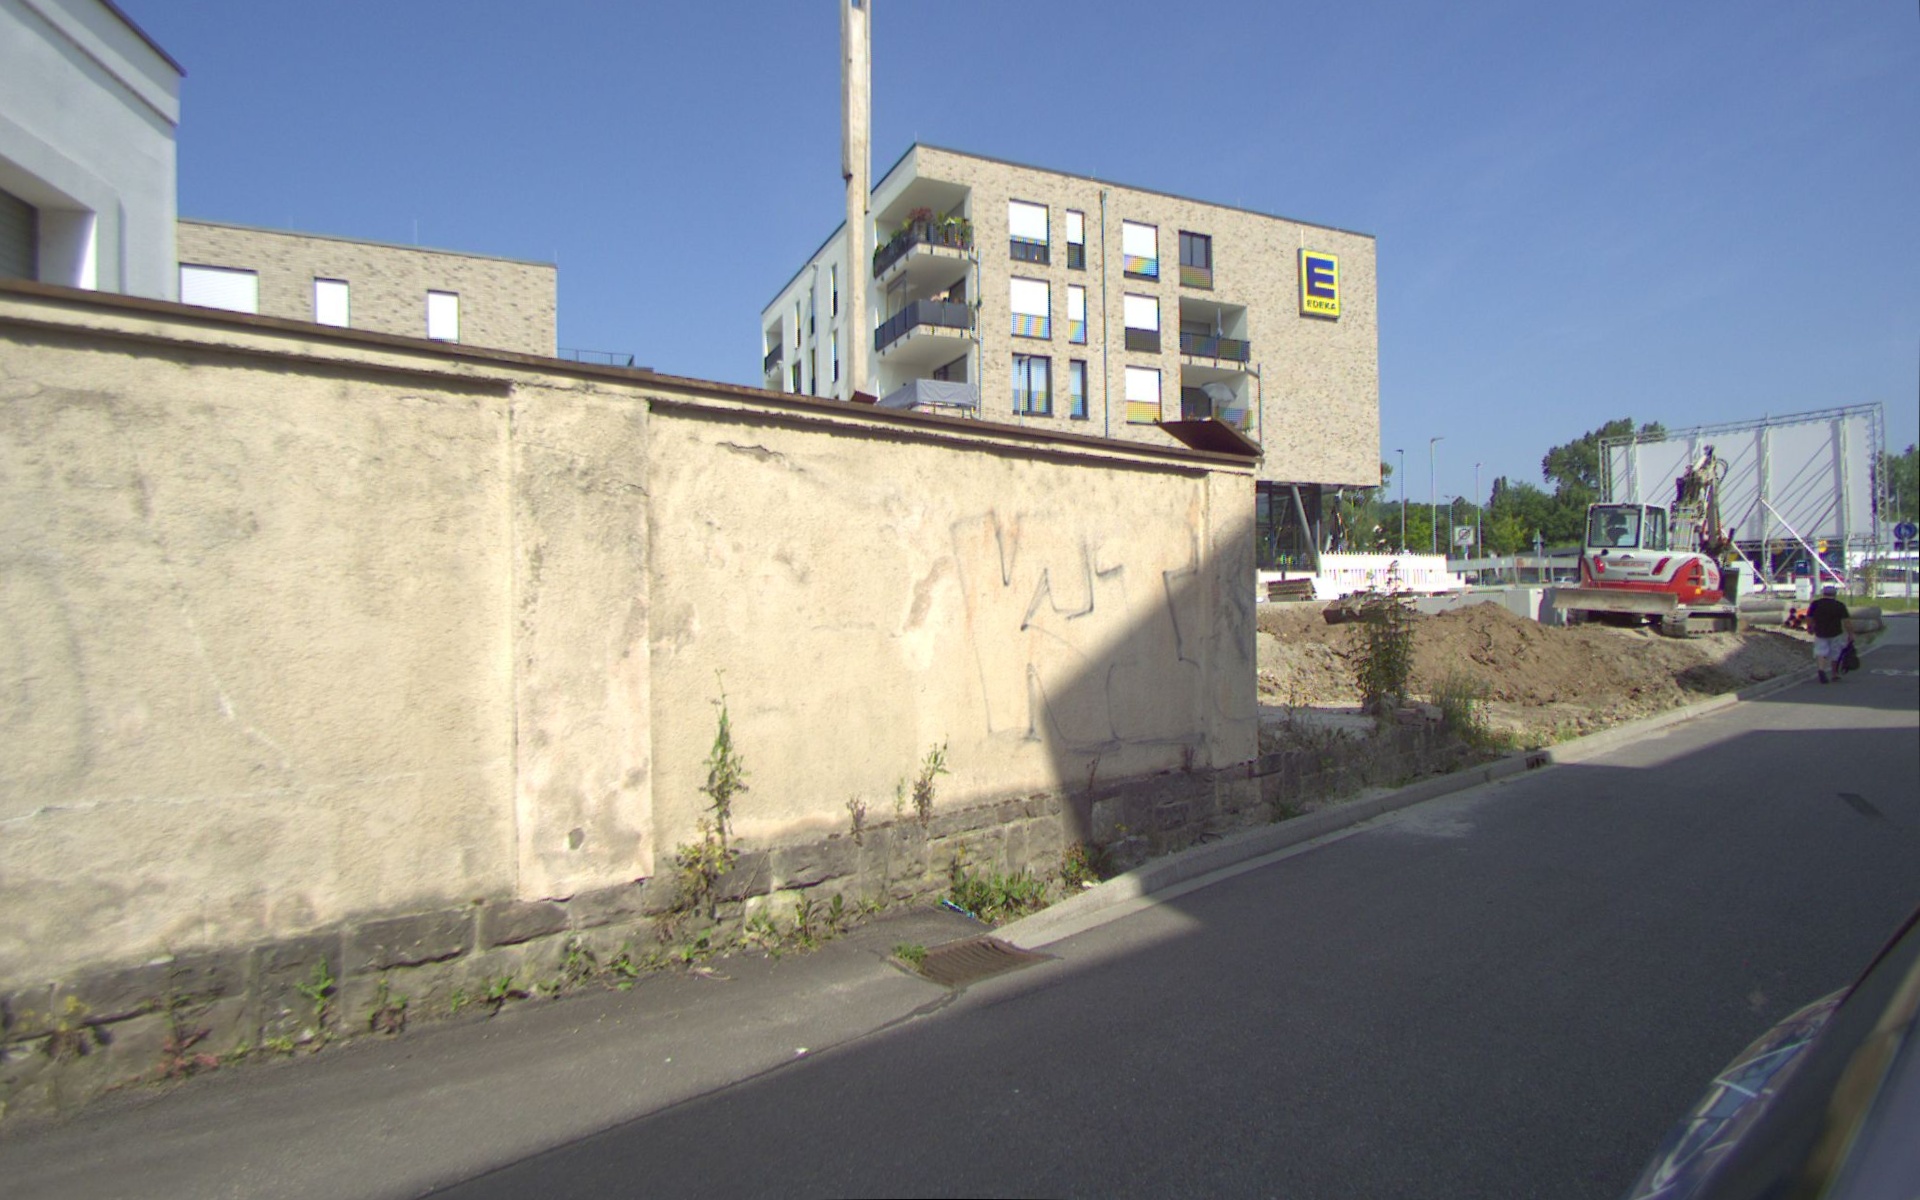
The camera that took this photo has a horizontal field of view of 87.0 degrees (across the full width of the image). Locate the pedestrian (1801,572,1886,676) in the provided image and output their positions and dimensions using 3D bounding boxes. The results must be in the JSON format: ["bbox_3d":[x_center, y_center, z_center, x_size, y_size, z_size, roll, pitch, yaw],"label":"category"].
[{"bbox_3d":[15.061,0.414,17.259,0.706,1.704,0.890,-2,-2,-40],"label":"pedestrian"}]

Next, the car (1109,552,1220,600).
[{"bbox_3d":[6.839,-0.773,34.006,1.567,1.513,3.411,-3,2,-40],"label":"car"}]

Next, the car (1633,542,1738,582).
[{"bbox_3d":[53.723,-2.746,75.155,2.017,2.415,6.100,-1,-3,-21],"label":"car"}]

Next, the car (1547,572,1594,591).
[{"bbox_3d":[54.997,-1.673,91.200,3.708,1.595,1.668,-1,-3,-23],"label":"car"}]

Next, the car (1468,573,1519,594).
[{"bbox_3d":[44.985,-1.376,85.316,3.708,1.595,1.765,-1,-3,-23],"label":"car"}]

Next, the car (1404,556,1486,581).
[{"bbox_3d":[32.176,-2.065,67.259,1.819,1.575,4.831,2,0,-24],"label":"car"}]

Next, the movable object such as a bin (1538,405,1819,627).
[{"bbox_3d":[15.263,-1.570,21.256,7.653,3.904,2.301,-1,-3,-36],"label":"movable object such as a bin"}]
